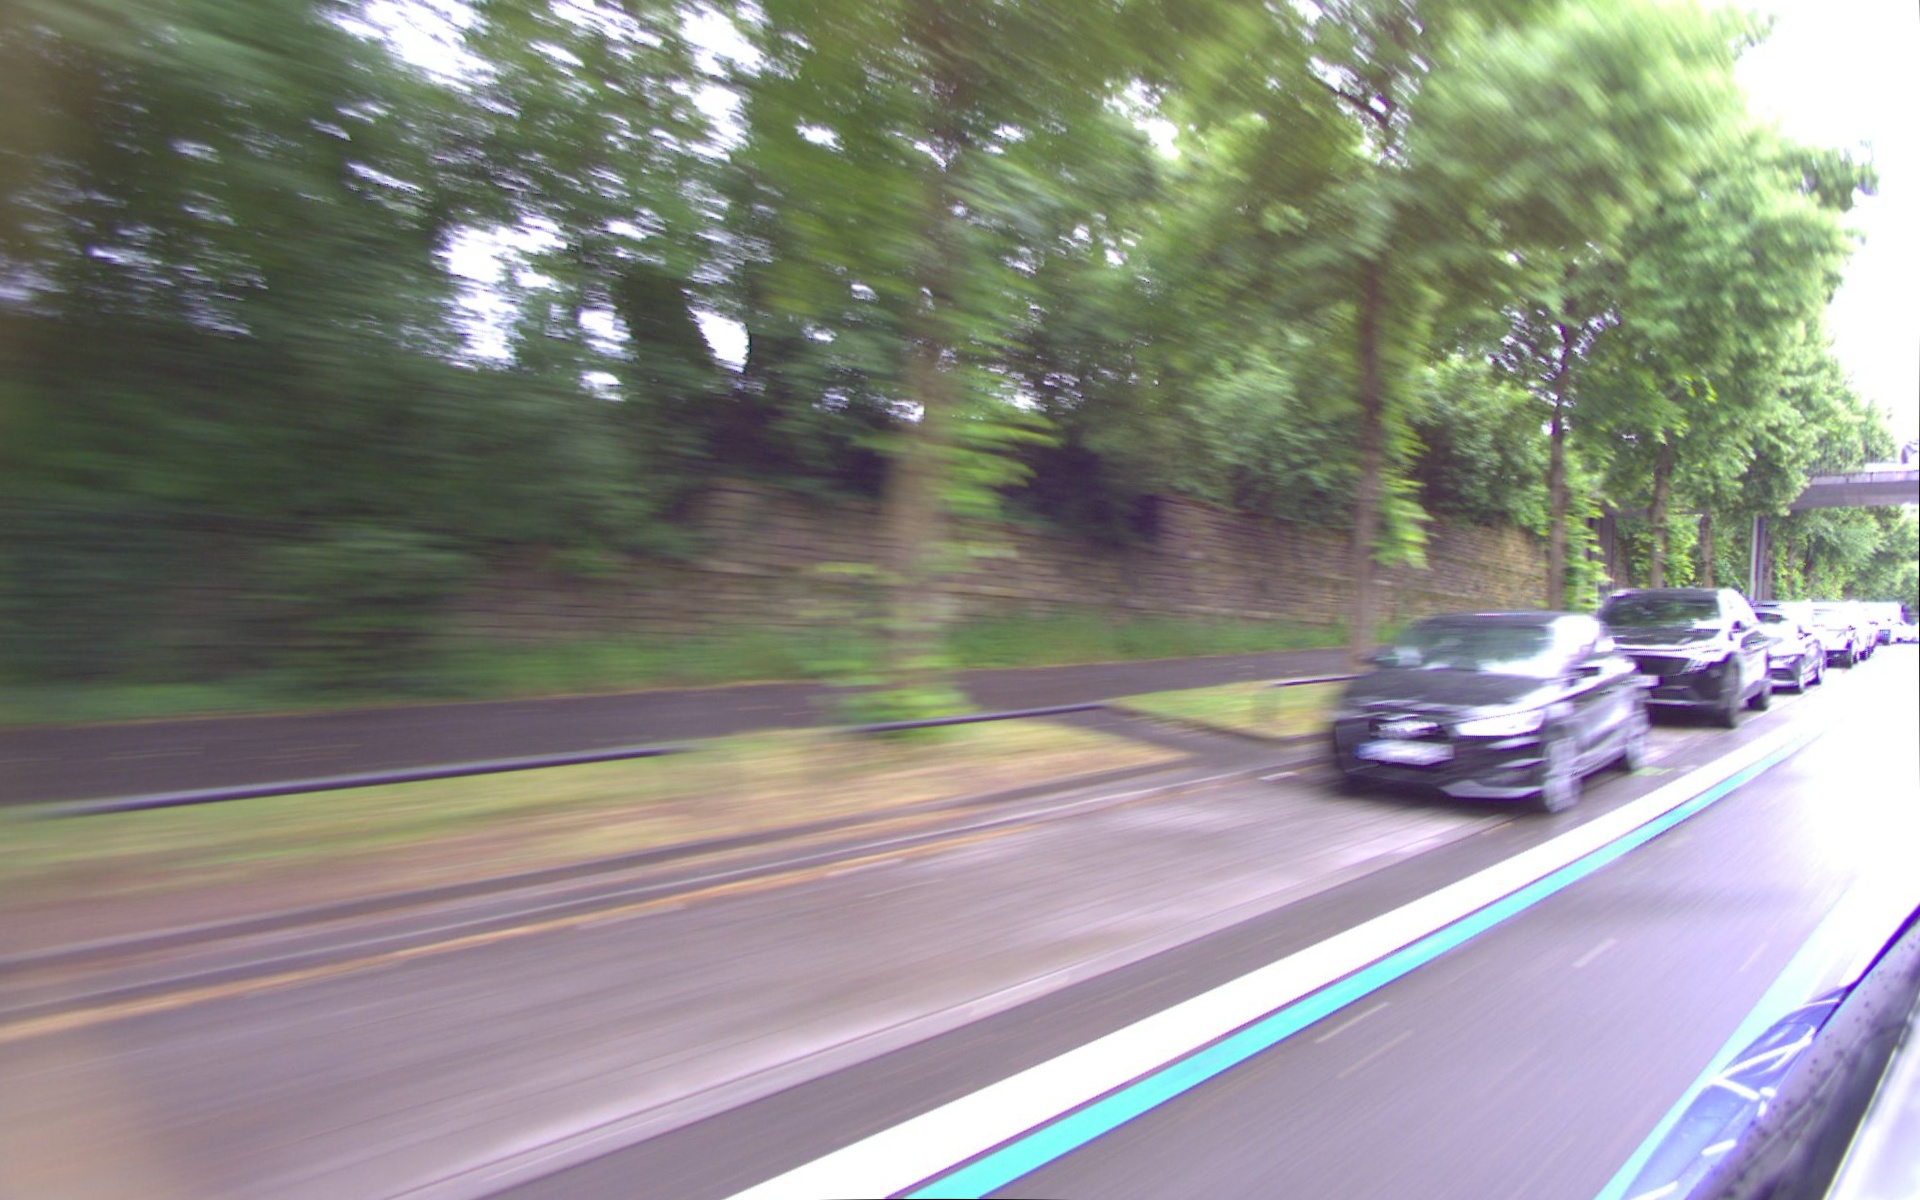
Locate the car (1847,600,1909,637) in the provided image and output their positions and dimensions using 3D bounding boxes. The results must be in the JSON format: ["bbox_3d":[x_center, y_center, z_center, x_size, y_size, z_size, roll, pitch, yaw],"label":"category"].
[{"bbox_3d":[41.999,0.858,46.370,1.992,1.580,4.571,1,-1,42],"label":"car"}]

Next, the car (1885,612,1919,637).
[{"bbox_3d":[63.207,1.655,67.616,1.753,1.605,4.351,1,-1,39],"label":"car"}]

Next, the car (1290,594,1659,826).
[{"bbox_3d":[4.410,0.677,8.375,1.678,1.393,3.937,1,2,43],"label":"car"}]

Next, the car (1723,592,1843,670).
[{"bbox_3d":[17.973,0.615,22.044,3.680,1.554,1.662,0,0,-45],"label":"car"}]

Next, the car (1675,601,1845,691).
[{"bbox_3d":[14.416,0.724,18.144,4.391,1.365,1.777,-1,1,-43],"label":"car"}]

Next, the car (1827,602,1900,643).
[{"bbox_3d":[34.837,0.904,39.102,1.552,1.485,3.581,0,-2,33],"label":"car"}]

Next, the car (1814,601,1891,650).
[{"bbox_3d":[29.323,0.794,33.208,1.673,1.411,4.379,1,1,44],"label":"car"}]

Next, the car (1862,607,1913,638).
[{"bbox_3d":[46.169,1.127,50.354,4.541,1.444,1.661,3,-1,-45],"label":"car"}]

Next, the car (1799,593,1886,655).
[{"bbox_3d":[25.612,0.633,29.316,1.713,1.639,4.194,1,1,44],"label":"car"}]

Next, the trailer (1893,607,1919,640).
[{"bbox_3d":[66.838,1.662,71.423,1.347,2.298,3.506,0,-2,45],"label":"trailer"}]

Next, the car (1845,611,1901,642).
[{"bbox_3d":[38.621,1.140,42.769,1.626,1.205,4.116,1,-1,44],"label":"car"}]

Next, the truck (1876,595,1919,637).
[{"bbox_3d":[54.785,0.950,59.133,1.719,2.363,3.935,1,-1,45],"label":"truck"}]

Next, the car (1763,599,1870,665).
[{"bbox_3d":[21.585,0.737,25.442,1.719,1.393,4.486,1,2,44],"label":"car"}]

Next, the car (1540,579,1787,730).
[{"bbox_3d":[9.472,0.568,13.487,1.994,1.665,4.278,0,1,45],"label":"car"}]

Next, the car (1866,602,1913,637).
[{"bbox_3d":[50.778,1.092,55.253,1.723,1.813,4.274,1,-1,45],"label":"car"}]
